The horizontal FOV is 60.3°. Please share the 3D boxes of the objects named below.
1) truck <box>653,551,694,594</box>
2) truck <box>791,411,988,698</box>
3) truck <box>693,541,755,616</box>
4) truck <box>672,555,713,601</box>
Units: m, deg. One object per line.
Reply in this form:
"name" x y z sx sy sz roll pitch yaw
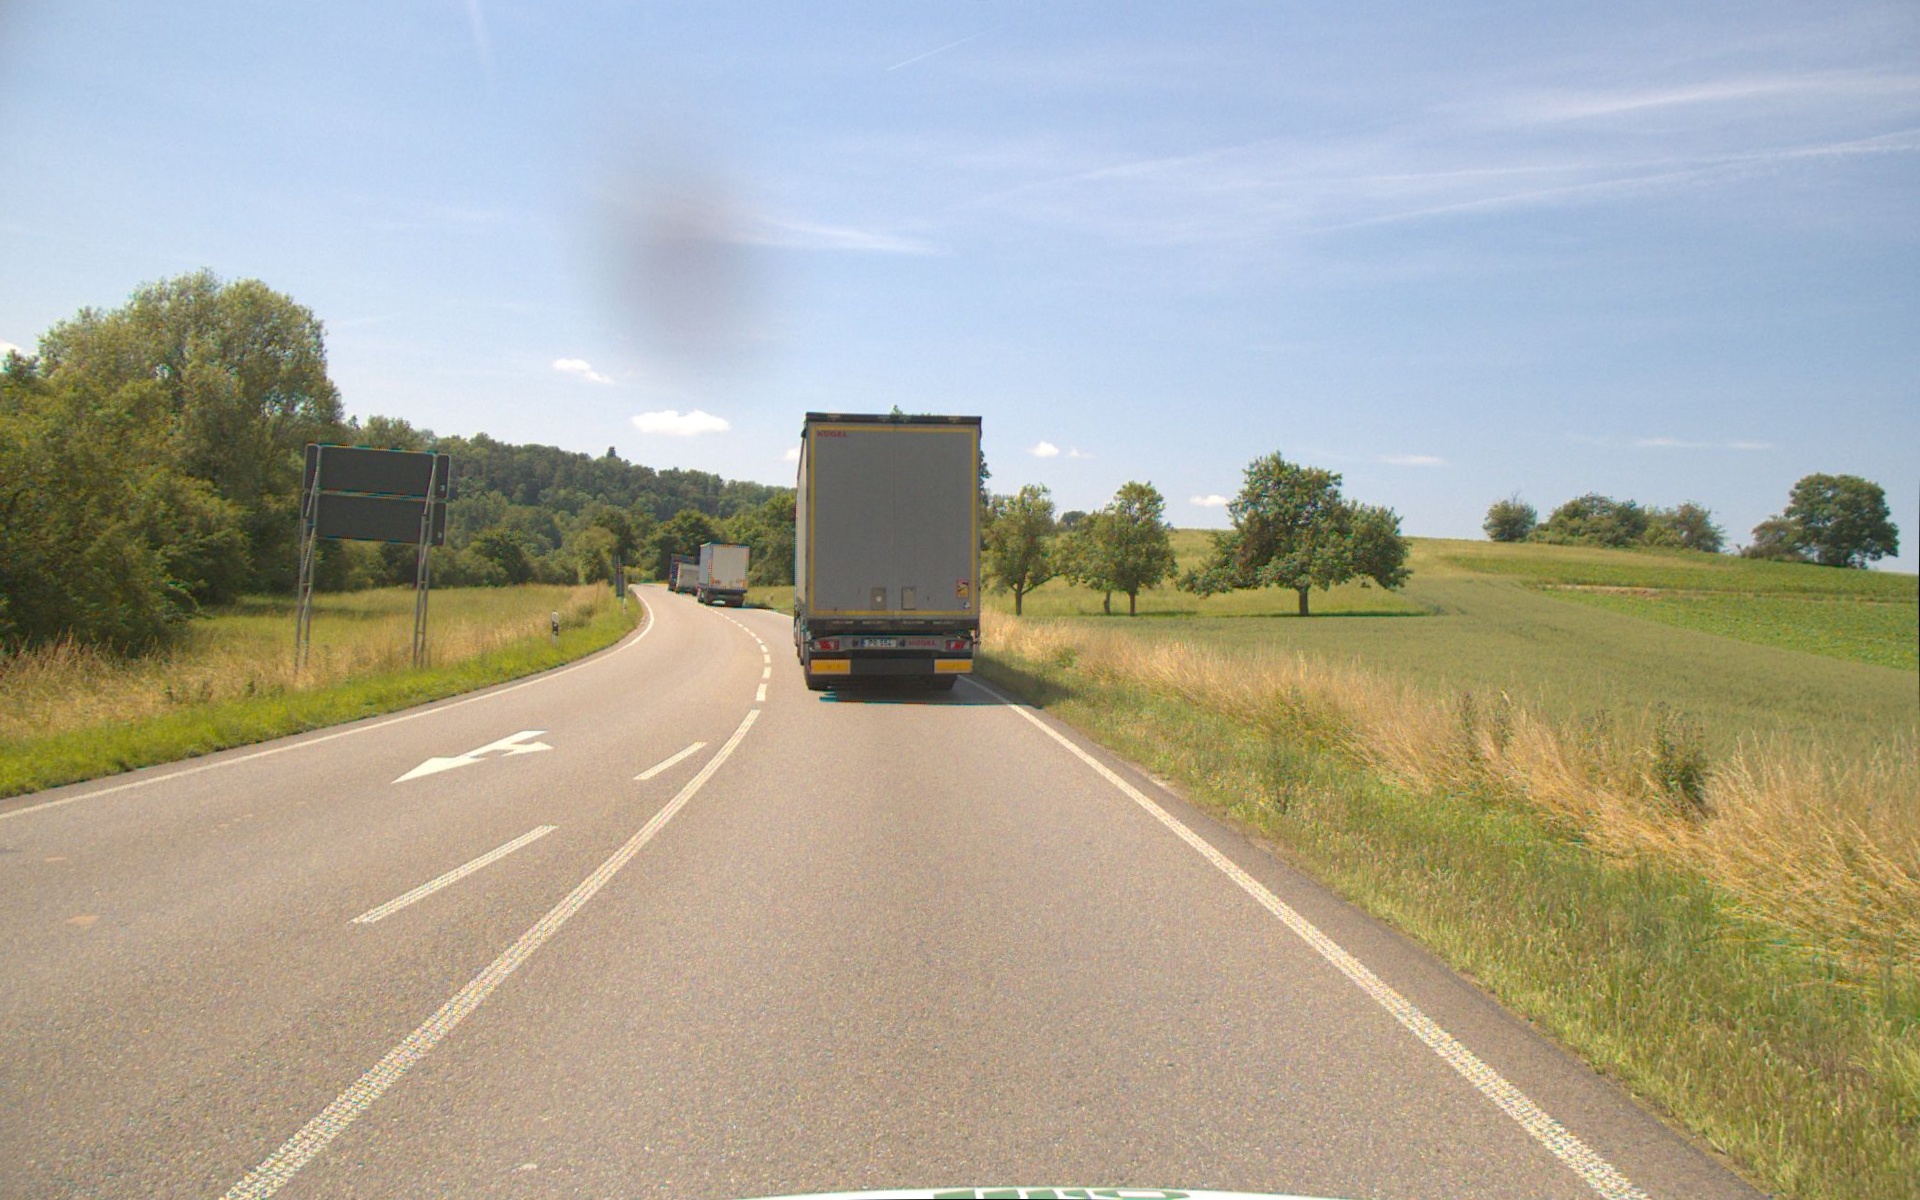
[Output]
"truck" -32.956 -3.070 189.819 3.470 4.315 13.353 3 -2 -14
"truck" -1.455 -0.671 28.085 2.754 4.015 9.579 0 0 -6
"truck" -16.365 -1.472 113.764 2.909 4.664 16.266 3 0 -12
"truck" -27.831 -2.199 171.608 3.572 4.201 13.062 3 -2 -11
